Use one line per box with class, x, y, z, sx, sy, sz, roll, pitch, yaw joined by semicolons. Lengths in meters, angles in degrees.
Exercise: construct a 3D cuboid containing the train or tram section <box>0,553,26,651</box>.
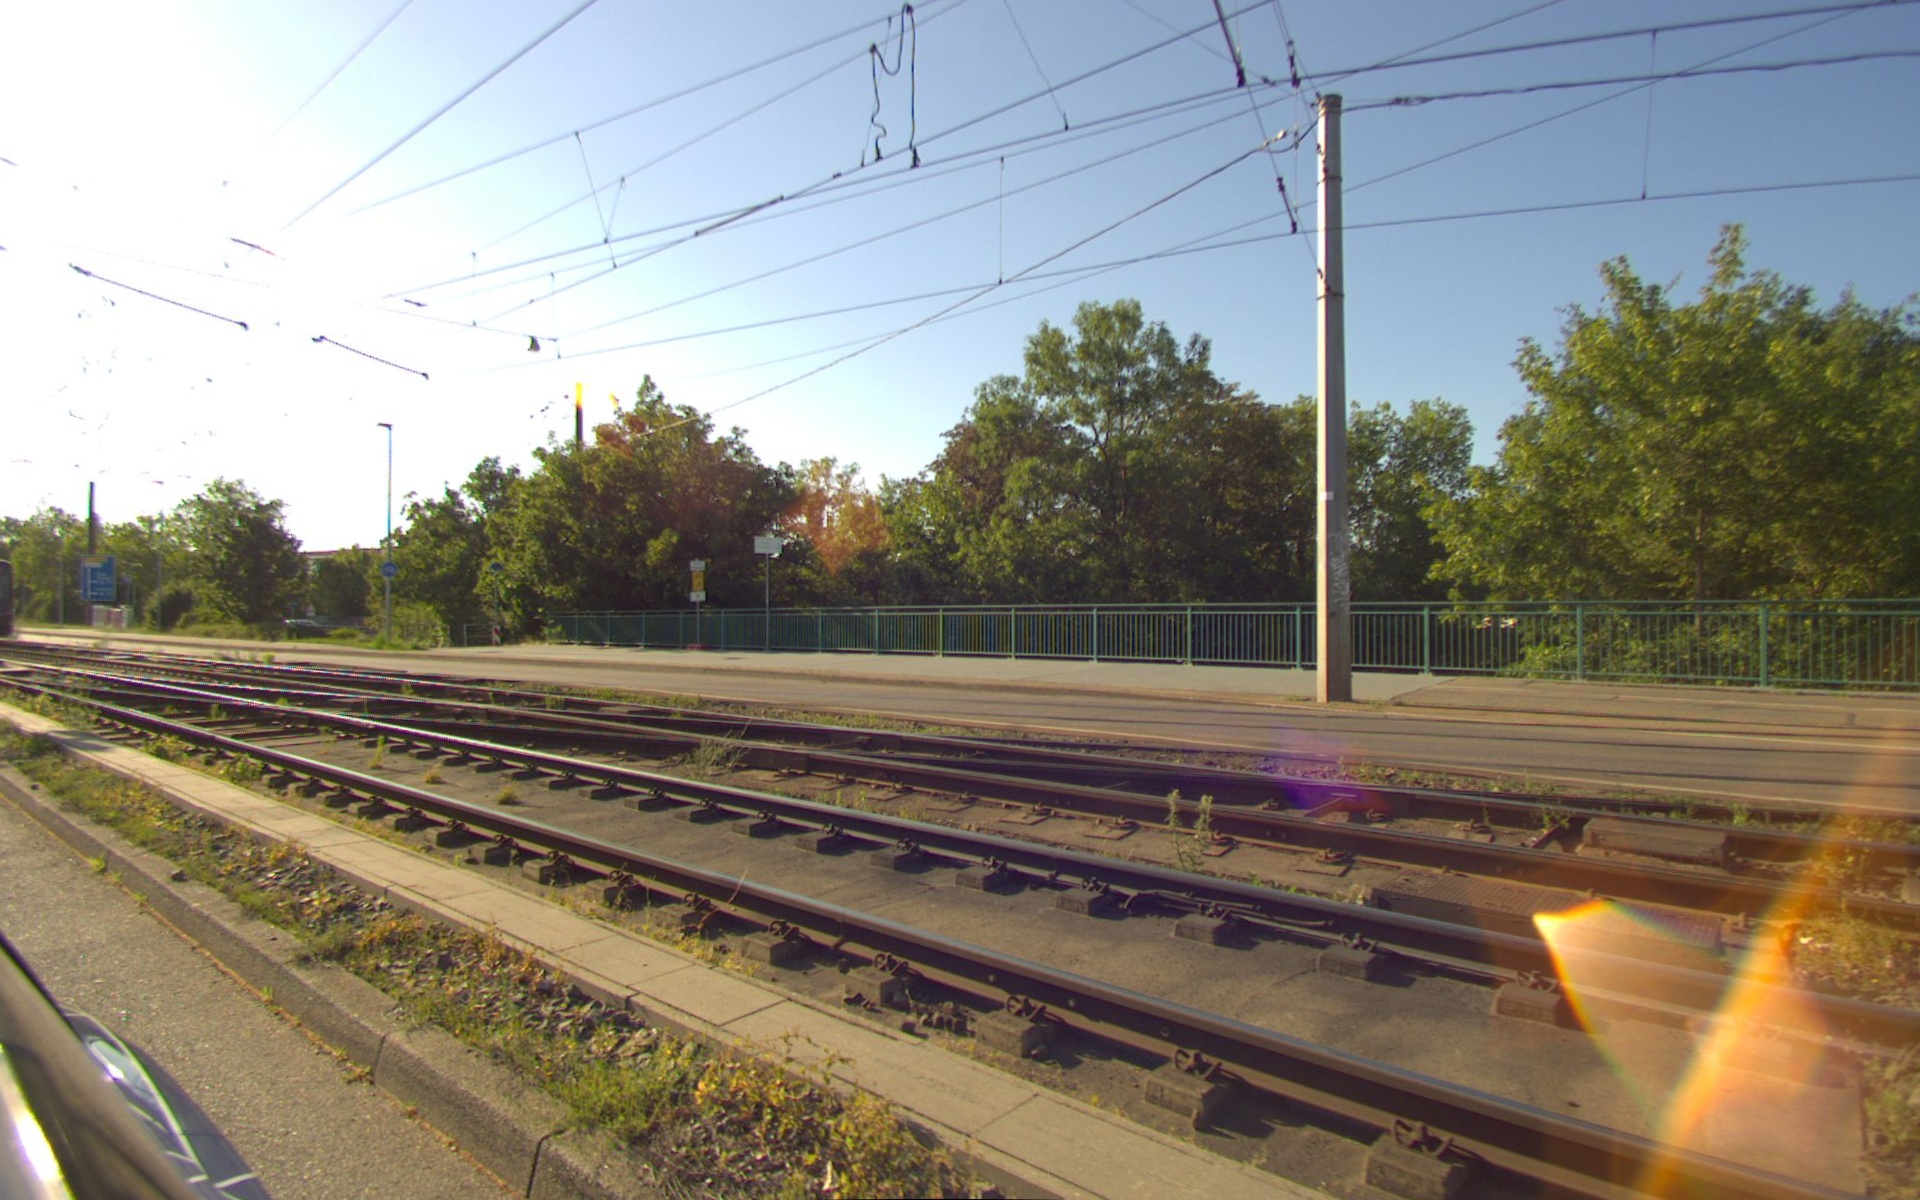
train or tram section;-43.956;0.164;43.997;12.684;3.930;2.949;-1;-1;38
